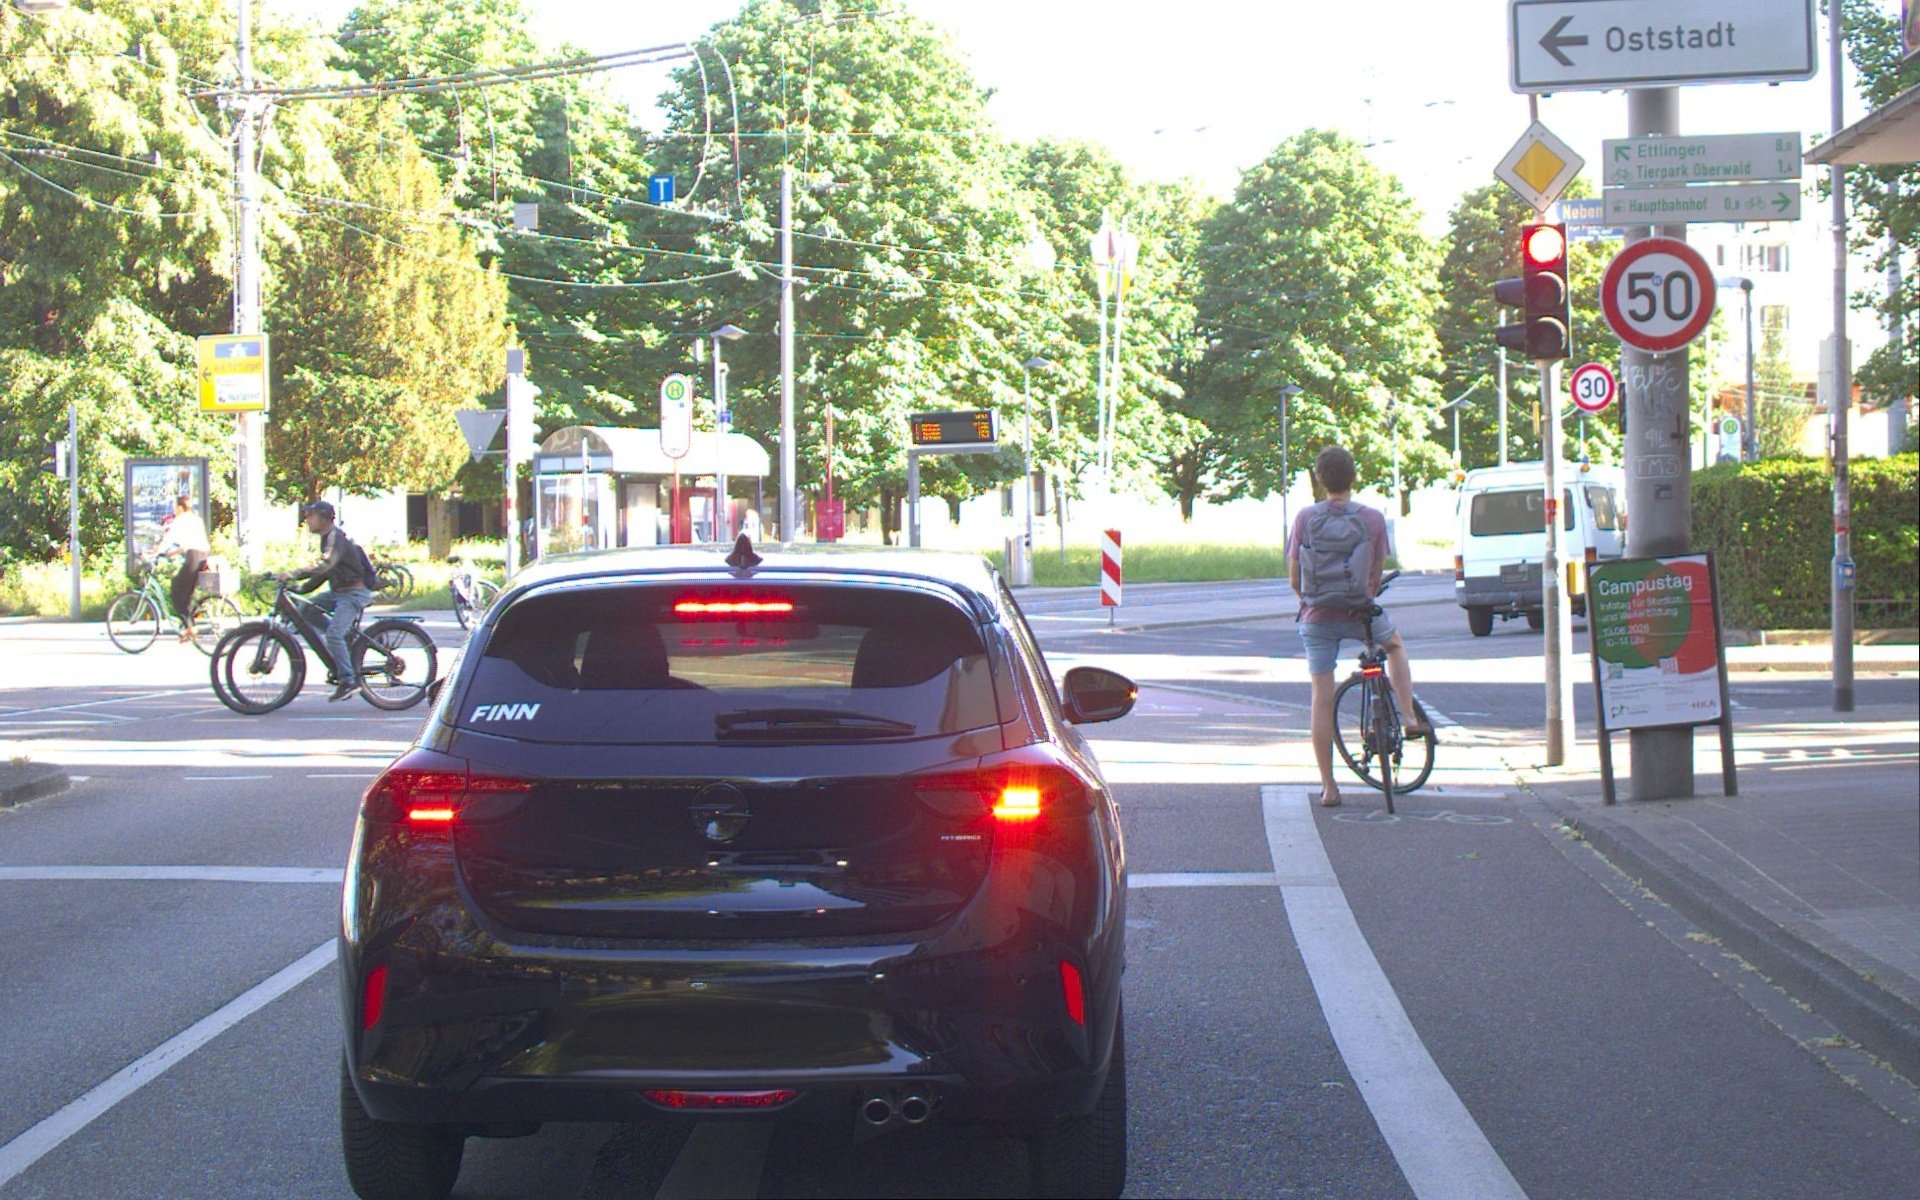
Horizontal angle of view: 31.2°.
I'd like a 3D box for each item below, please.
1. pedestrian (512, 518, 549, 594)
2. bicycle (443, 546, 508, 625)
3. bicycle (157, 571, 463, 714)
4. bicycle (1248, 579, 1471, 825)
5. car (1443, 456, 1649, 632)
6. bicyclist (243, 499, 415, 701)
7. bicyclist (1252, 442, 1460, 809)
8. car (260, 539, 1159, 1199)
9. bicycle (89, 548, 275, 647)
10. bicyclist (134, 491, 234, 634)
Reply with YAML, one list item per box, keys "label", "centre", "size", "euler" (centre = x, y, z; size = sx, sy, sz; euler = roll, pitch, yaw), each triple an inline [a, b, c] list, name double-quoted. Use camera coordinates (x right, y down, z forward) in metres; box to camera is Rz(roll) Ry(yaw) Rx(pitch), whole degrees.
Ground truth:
- label: "pedestrian"
  centre: [-9.251, -0.954, 74.069]
  size: [0.636, 1.624, 0.572]
  euler: [1, 0, 7]
- label: "bicycle"
  centre: [-6.542, -0.205, 46.481]
  size: [0.605, 1.028, 1.982]
  euler: [-1, 1, -1]
- label: "bicycle"
  centre: [-5.026, 0.311, 26.596]
  size: [2.190, 1.029, 0.835]
  euler: [-1, 1, -23]
- label: "bicycle"
  centre: [2.040, 0.491, 17.857]
  size: [0.860, 1.149, 2.172]
  euler: [-1, 1, -1]
- label: "car"
  centre: [7.983, -0.773, 46.460]
  size: [2.065, 2.241, 4.883]
  euler: [0, 1, 18]
- label: "bicyclist"
  centre: [-4.890, -0.016, 26.624]
  size: [1.112, 1.515, 0.922]
  euler: [-1, 1, -23]
- label: "bicyclist"
  centre: [2.040, 0.119, 17.799]
  size: [0.941, 1.845, 0.864]
  euler: [-1, 1, -1]
- label: "car"
  centre: [-0.499, 0.570, 8.729]
  size: [1.727, 1.424, 4.187]
  euler: [0, 1, 0]
- label: "bicycle"
  centre: [-8.763, -0.027, 38.728]
  size: [2.057, 1.090, 0.592]
  euler: [0, 1, 22]
- label: "bicyclist"
  centre: [-8.738, -0.427, 38.716]
  size: [0.862, 1.589, 0.648]
  euler: [0, 1, 22]
